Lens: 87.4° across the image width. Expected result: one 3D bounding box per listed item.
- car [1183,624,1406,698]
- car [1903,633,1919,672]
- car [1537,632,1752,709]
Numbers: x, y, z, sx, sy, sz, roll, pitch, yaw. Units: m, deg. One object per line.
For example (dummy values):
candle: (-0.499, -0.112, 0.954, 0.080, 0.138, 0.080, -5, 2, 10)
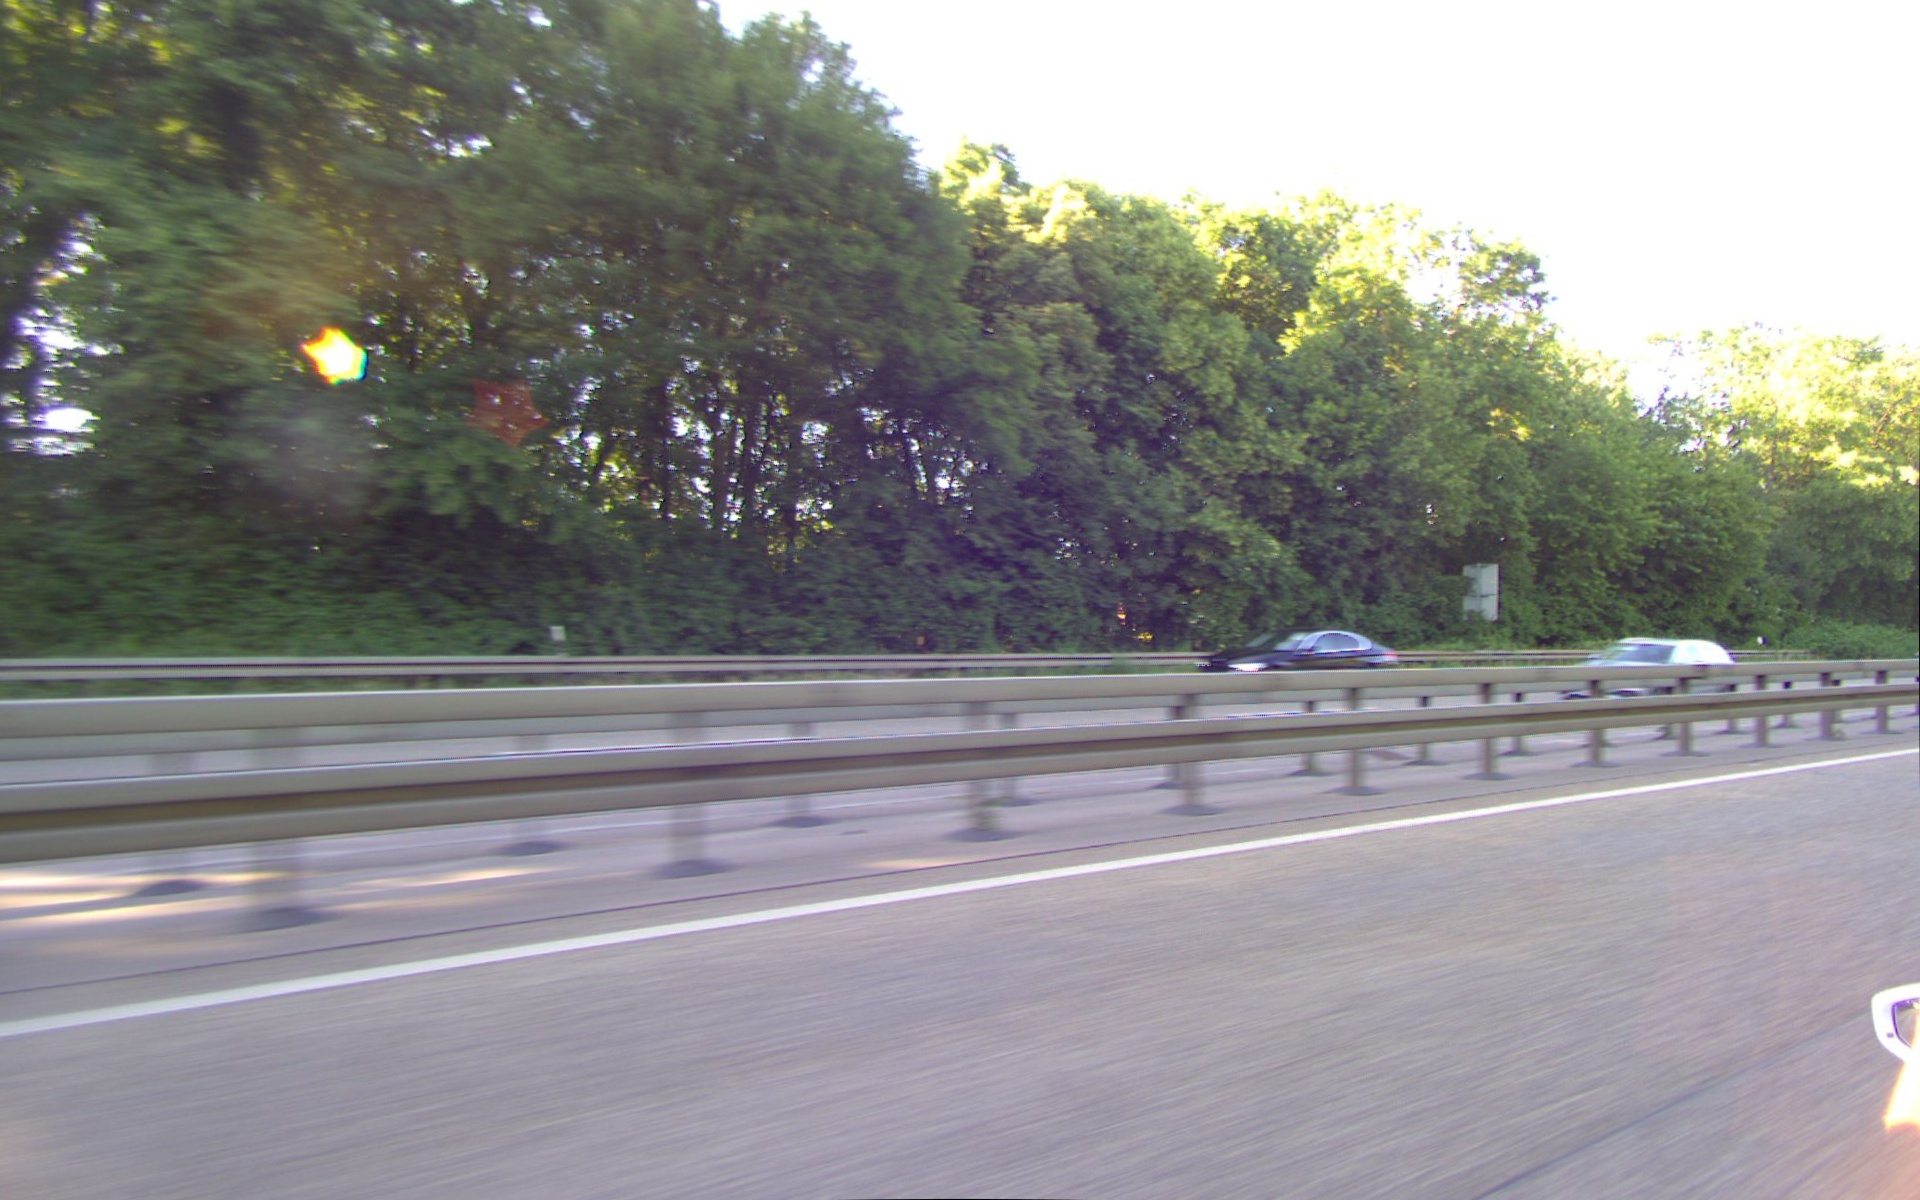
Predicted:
car: (7.459, 1.315, 22.295, 4.844, 1.483, 1.985, 1, -3, -30)
car: (38.269, 2.042, 38.836, 3.953, 1.442, 1.598, 1, -1, -30)
car: (14.768, 1.462, 21.624, 4.684, 1.483, 1.985, 1, -3, -30)
